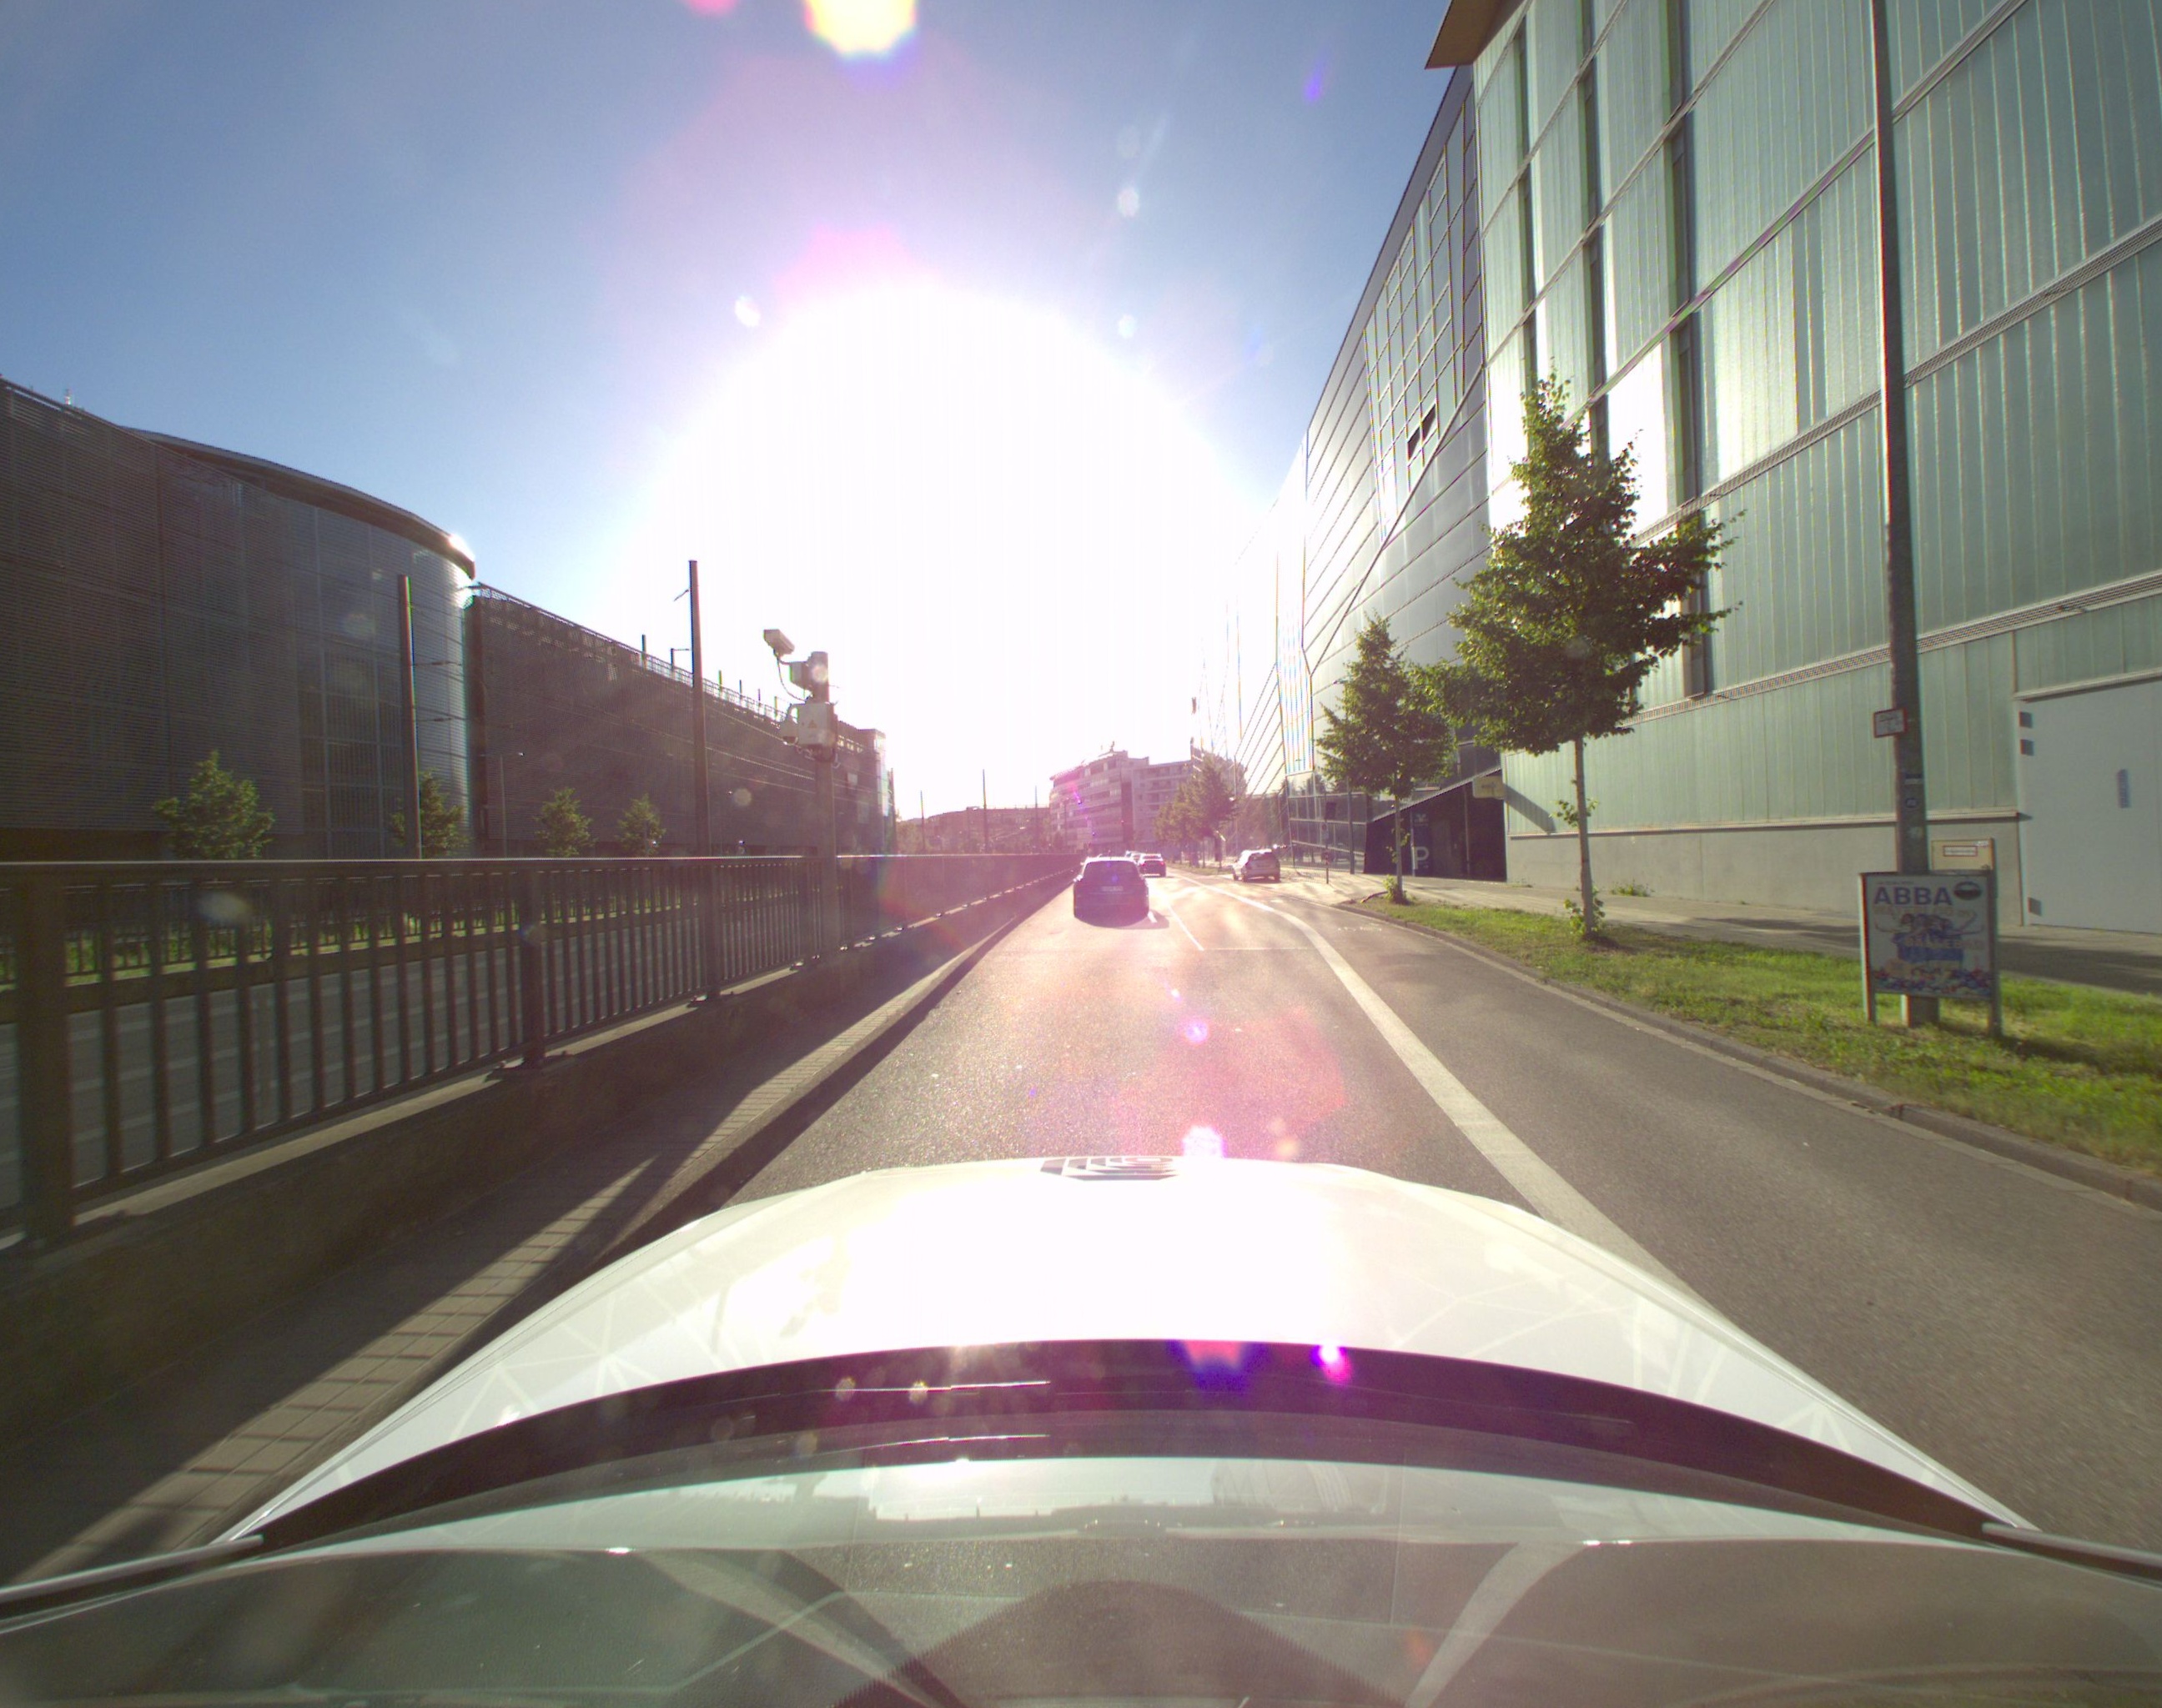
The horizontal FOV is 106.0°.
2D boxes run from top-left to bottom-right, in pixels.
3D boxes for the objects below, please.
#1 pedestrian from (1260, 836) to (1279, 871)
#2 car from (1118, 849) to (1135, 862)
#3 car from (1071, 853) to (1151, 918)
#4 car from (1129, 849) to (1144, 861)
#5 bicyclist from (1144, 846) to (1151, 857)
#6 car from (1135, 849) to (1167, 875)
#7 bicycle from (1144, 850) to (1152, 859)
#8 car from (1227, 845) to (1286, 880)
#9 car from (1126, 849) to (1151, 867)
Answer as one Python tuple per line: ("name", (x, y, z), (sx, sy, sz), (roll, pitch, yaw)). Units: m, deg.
("pedestrian", (11.057, -0.028, 47.783), (0.833, 2.013, 0.690), (-3, 0, 3))
("car", (5.628, 0.188, 100.709), (1.985, 1.465, 4.005), (-1, 1, 4))
("car", (0.764, 0.749, 21.348), (1.805, 1.427, 4.691), (-2, 0, 2))
("car", (7.653, 0.136, 112.452), (1.985, 1.465, 4.005), (-1, 1, 4))
("bicyclist", (8.649, -0.323, 106.259), (0.722, 1.269, 1.036), (-4, 0, 0))
("car", (4.361, 0.464, 51.132), (1.845, 1.546, 4.004), (-1, 0, 3))
("bicycle", (8.737, 0.067, 106.263), (0.722, 1.184, 2.093), (-4, 0, 0))
("car", (8.470, 0.371, 39.690), (1.846, 1.481, 4.856), (-4, 0, 2))
("car", (5.189, 0.350, 73.602), (1.987, 1.465, 4.000), (-1, 1, 0))
